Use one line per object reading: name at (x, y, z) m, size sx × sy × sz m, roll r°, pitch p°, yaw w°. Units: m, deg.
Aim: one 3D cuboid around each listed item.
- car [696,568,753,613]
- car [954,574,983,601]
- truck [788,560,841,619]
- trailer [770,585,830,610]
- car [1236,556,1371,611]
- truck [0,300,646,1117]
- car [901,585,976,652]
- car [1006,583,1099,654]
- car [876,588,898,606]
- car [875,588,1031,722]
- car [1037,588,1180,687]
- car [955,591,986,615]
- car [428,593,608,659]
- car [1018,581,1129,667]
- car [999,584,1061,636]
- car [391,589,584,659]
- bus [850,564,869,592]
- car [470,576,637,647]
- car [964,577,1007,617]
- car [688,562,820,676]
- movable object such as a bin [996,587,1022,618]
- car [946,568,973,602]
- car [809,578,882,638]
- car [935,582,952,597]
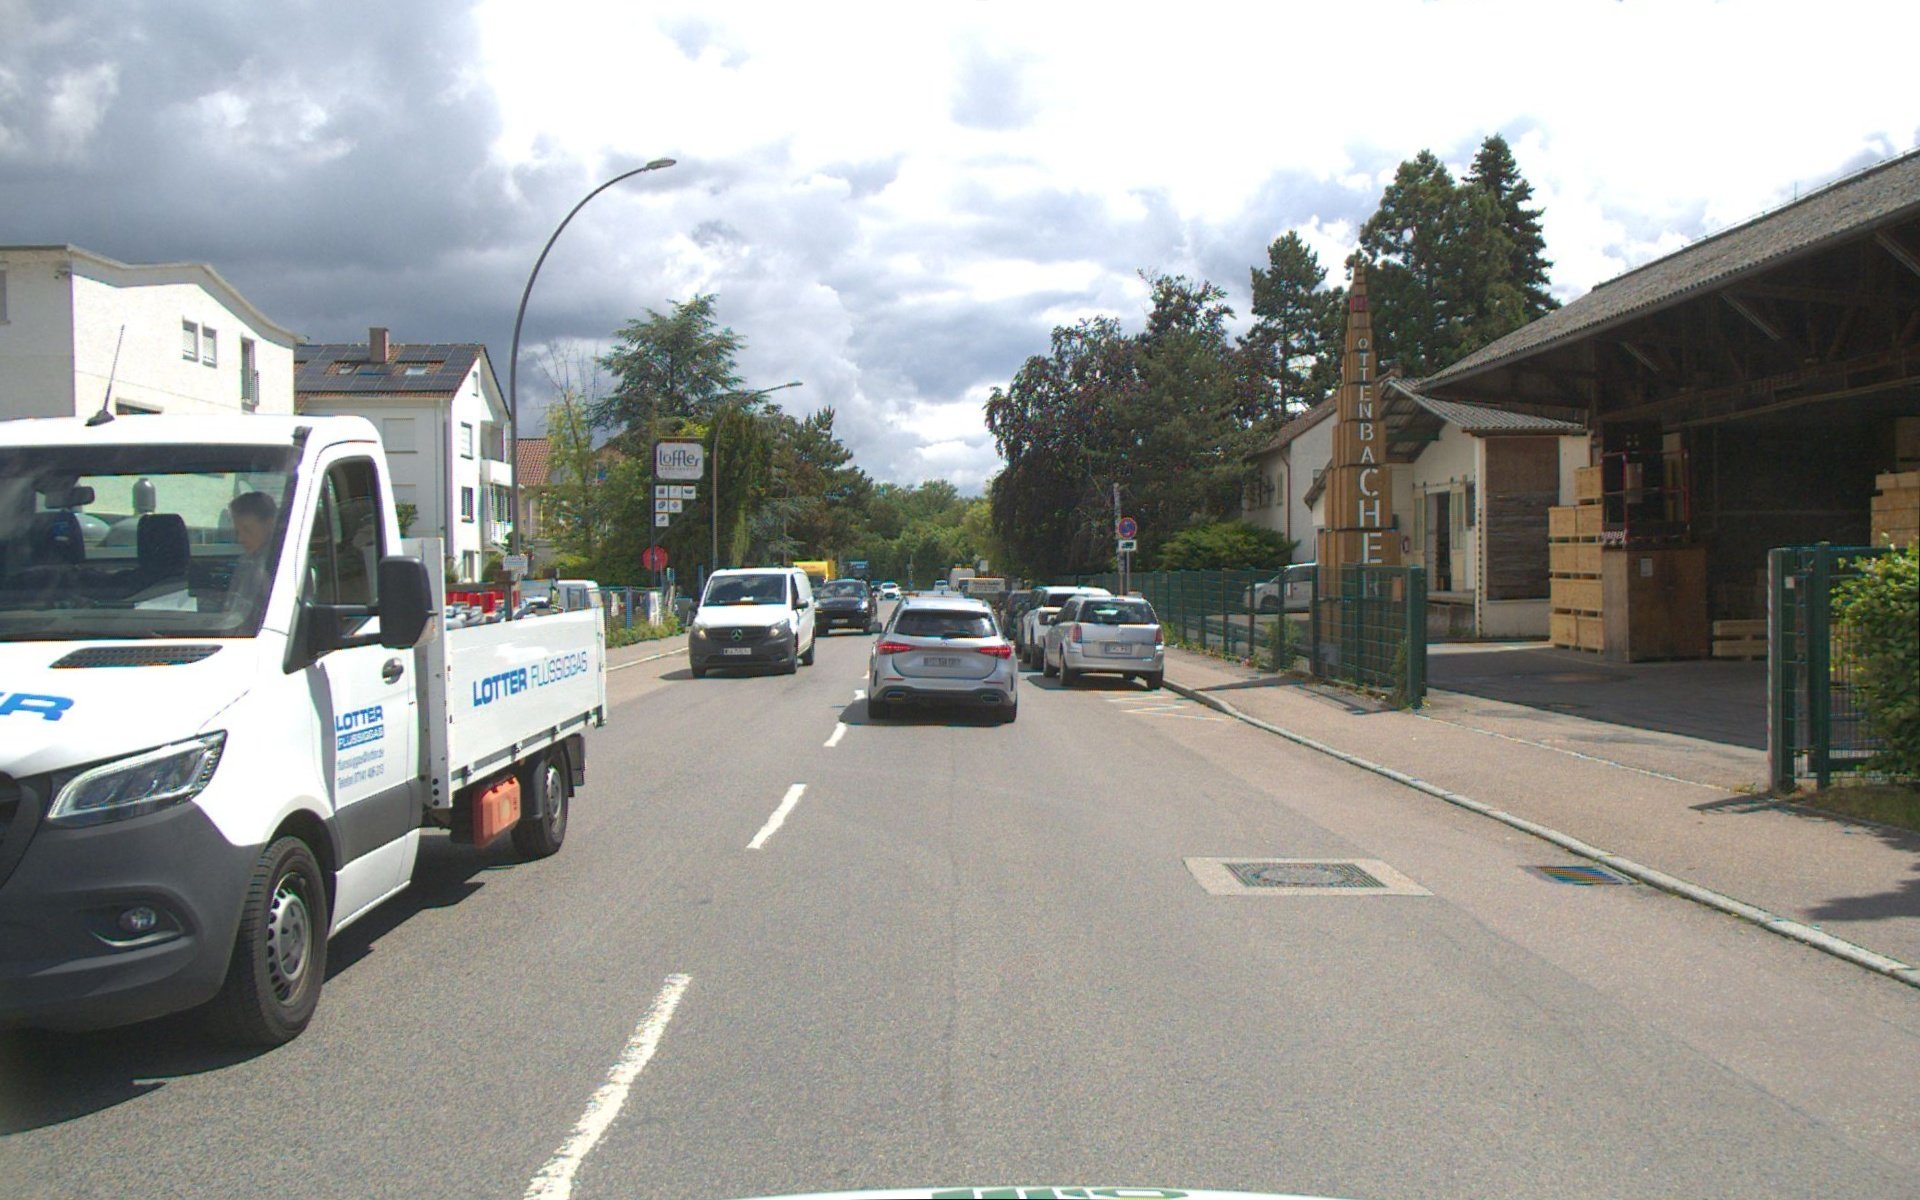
car at (-9.200, -0.402, 64.772) m, size 1.955 × 1.686 × 3.996 m, roll -1°, pitch 1°, yaw -5°
car at (0.566, -0.815, 112.256) m, size 1.749 × 1.745 × 4.314 m, roll 1°, pitch 0°, yaw -3°
truck at (-7.446, -0.586, 85.153) m, size 2.032 × 2.863 × 7.078 m, roll -1°, pitch 1°, yaw 0°
trailer at (-6.679, -0.130, 69.641) m, size 2.183 × 0.941 × 5.945 m, roll 0°, pitch 1°, yaw -3°
car at (13.568, -0.646, 65.537) m, size 4.913 × 1.963 × 2.001 m, roll -2°, pitch 0°, yaw 2°
truck at (-3.281, 0.277, 7.738) m, size 2.271 × 2.216 × 6.449 m, roll -1°, pitch 1°, yaw 1°
car at (-0.587, 0.432, 41.723) m, size 1.721 × 1.585 × 3.998 m, roll 0°, pitch 1°, yaw -3°
car at (2.166, 0.402, 39.711) m, size 1.656 × 1.579 × 4.082 m, roll -1°, pitch 1°, yaw -5°
car at (-6.406, -0.255, 145.473) m, size 1.895 × 1.518 × 4.362 m, roll -1°, pitch 1°, yaw -1°
car at (-0.183, 0.626, 20.916) m, size 1.749 × 1.510 × 4.314 m, roll 1°, pitch 0°, yaw -3°
car at (2.445, 0.573, 28.169) m, size 1.756 × 1.475 × 4.360 m, roll -2°, pitch 1°, yaw -4°
car at (0.671, 0.199, 107.973) m, size 1.749 × 1.510 × 4.314 m, roll 1°, pitch 0°, yaw -3°
car at (-11.488, 0.688, 43.233) m, size 4.193 × 1.594 × 1.990 m, roll -1°, pitch -3°, yaw -3°
car at (2.238, 0.429, 33.679) m, size 1.756 × 1.579 × 4.572 m, roll -2°, pitch 1°, yaw -2°
car at (2.112, 0.279, 50.453) m, size 1.655 × 1.476 × 3.848 m, roll -1°, pitch 1°, yaw -1°
car at (-11.617, 0.617, 40.870) m, size 4.192 × 1.594 × 1.990 m, roll -1°, pitch -3°, yaw -1°
bus at (-12.835, -2.838, 211.067) m, size 1.955 × 3.423 × 6.973 m, roll 2°, pitch 1°, yaw -6°
car at (-11.292, 0.338, 46.190) m, size 4.193 × 1.868 × 1.990 m, roll -1°, pitch -3°, yaw -3°
car at (1.311, -0.164, 86.996) m, size 2.101 × 2.018 × 5.260 m, roll -1°, pitch 1°, yaw -1°
car at (-3.745, 0.281, 30.928) m, size 1.953 × 1.921 × 5.115 m, roll -1°, pitch 1°, yaw -2°
movable object such as a bin at (2.114, 0.121, 71.597) m, size 1.062 × 1.293 × 1.380 m, roll 2°, pitch 1°, yaw -1°
car at (-0.053, -1.112, 124.583) m, size 1.749 × 2.562 × 4.314 m, roll 1°, pitch 0°, yaw -3°
car at (-3.601, 0.223, 52.760) m, size 1.953 × 1.763 × 4.548 m, roll -1°, pitch 1°, yaw 0°
car at (-1.769, -1.128, 174.488) m, size 1.720 × 1.585 × 3.999 m, roll 0°, pitch 1°, yaw -2°
